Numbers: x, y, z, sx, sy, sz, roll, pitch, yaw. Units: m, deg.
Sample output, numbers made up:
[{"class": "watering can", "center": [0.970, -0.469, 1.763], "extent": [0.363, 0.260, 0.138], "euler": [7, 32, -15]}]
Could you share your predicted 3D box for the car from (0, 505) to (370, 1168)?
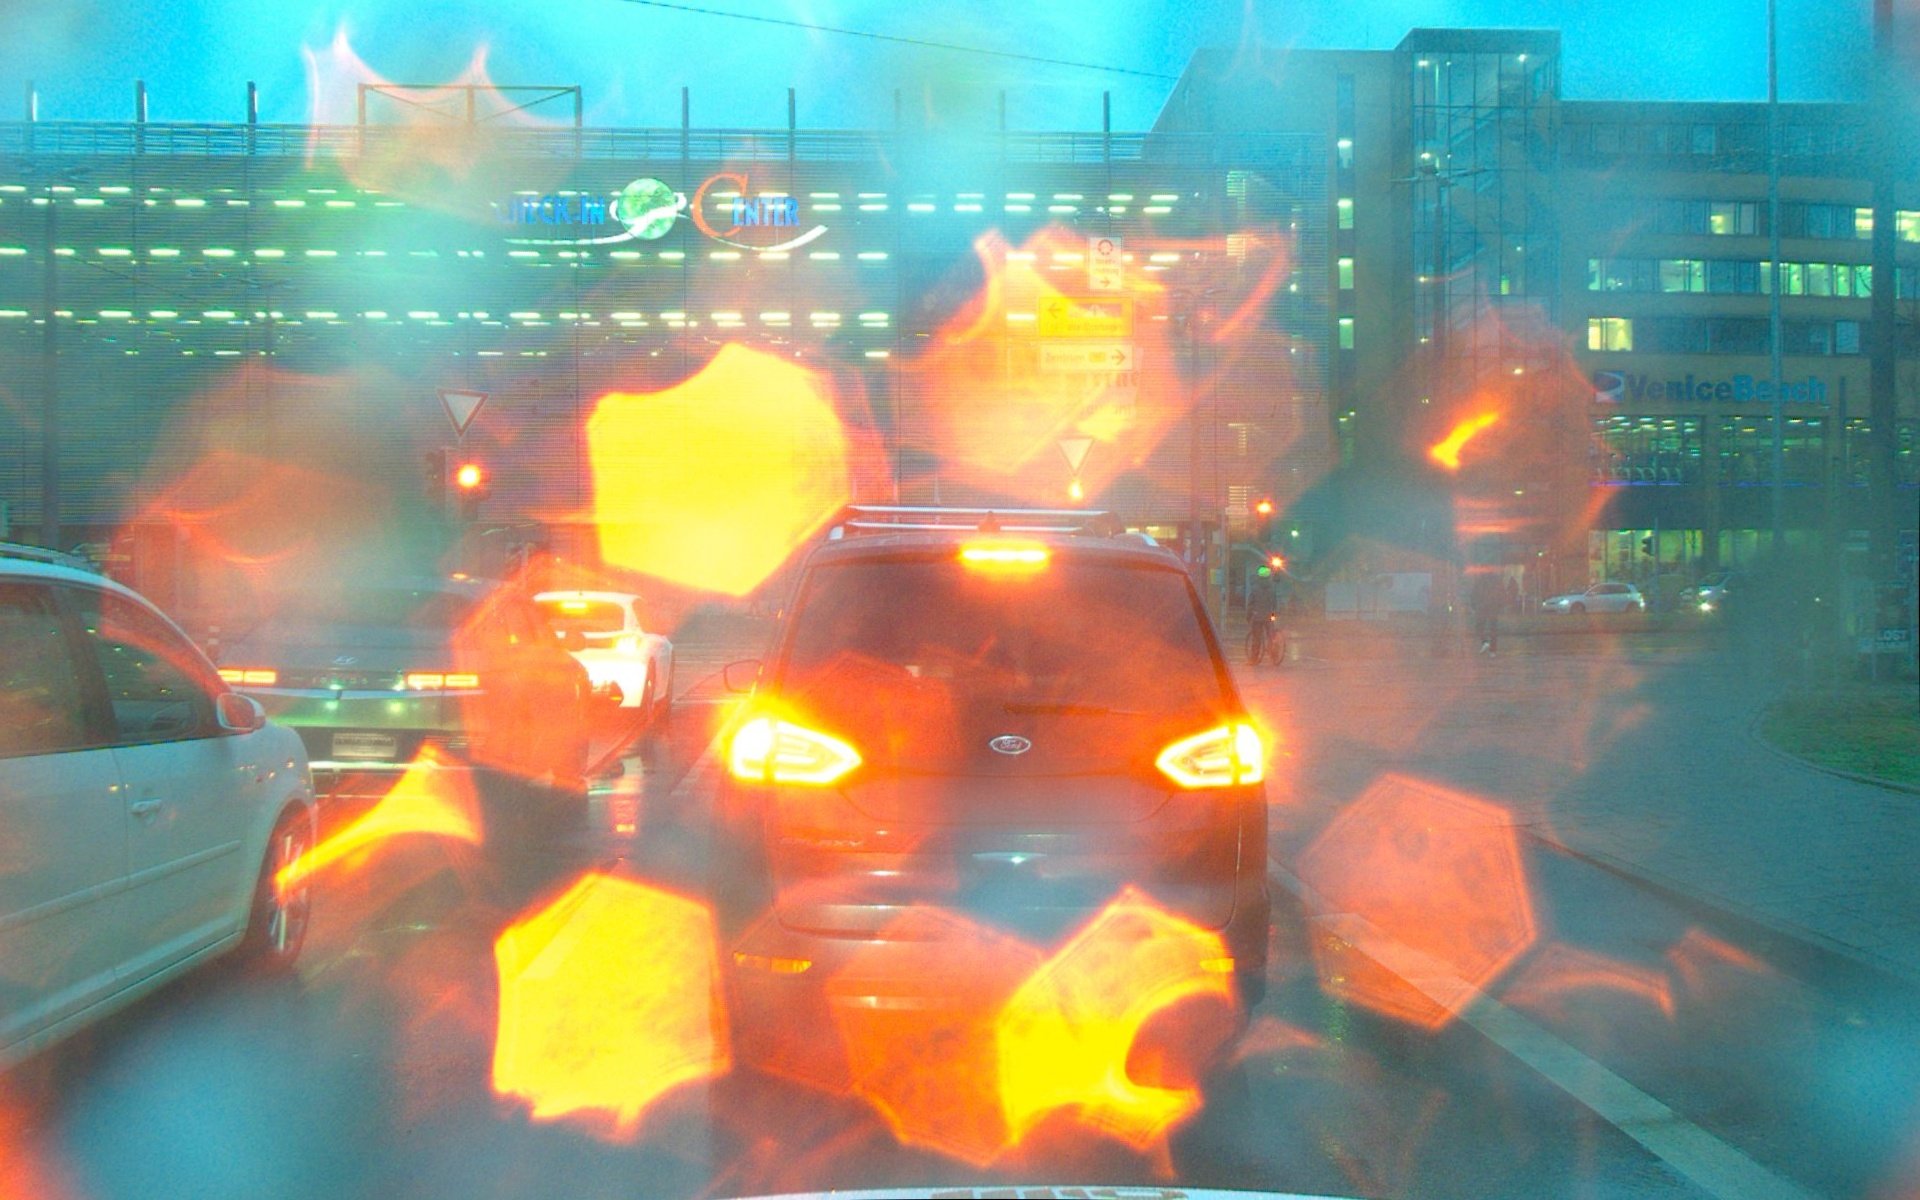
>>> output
[{"class": "car", "center": [-3.283, 0.564, 5.017], "extent": [1.637, 1.689, 4.146], "euler": [2, 1, -3]}]

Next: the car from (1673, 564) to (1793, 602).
[{"class": "car", "center": [32.704, -0.717, 70.012], "extent": [4.348, 1.561, 1.797], "euler": [-1, 0, -8]}]

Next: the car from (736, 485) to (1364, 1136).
[{"class": "car", "center": [0.152, 0.577, 6.723], "extent": [1.700, 1.768, 4.244], "euler": [2, 0, -3]}]

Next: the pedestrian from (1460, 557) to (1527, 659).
[{"class": "pedestrian", "center": [10.635, 0.148, 32.932], "extent": [1.146, 1.957, 0.898], "euler": [2, 0, 22]}]

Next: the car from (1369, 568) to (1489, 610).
[{"class": "car", "center": [19.033, -0.457, 67.168], "extent": [4.336, 1.623, 1.797], "euler": [-1, 0, -8]}]

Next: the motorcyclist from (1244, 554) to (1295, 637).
[{"class": "motorcyclist", "center": [5.929, -0.095, 31.747], "extent": [0.850, 1.561, 1.109], "euler": [0, 0, 5]}]

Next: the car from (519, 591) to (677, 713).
[{"class": "car", "center": [-4.153, 0.537, 19.437], "extent": [1.512, 1.273, 4.060], "euler": [0, 0, -8]}]

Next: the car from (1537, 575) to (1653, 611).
[{"class": "car", "center": [26.299, -0.290, 68.547], "extent": [4.136, 1.414, 1.797], "euler": [-1, 0, -8]}]

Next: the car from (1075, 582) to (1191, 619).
[{"class": "car", "center": [6.871, -0.007, 65.918], "extent": [4.336, 1.414, 1.797], "euler": [-1, 0, -8]}]

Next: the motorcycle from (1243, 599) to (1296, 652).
[{"class": "motorcycle", "center": [5.928, 0.476, 31.732], "extent": [0.835, 0.989, 1.582], "euler": [0, 0, 5]}]

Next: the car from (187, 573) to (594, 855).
[{"class": "car", "center": [-3.704, 0.640, 11.489], "extent": [1.718, 1.601, 3.996], "euler": [0, 0, -5]}]

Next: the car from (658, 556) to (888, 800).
[{"class": "car", "center": [-1.488, 0.559, 13.626], "extent": [1.604, 1.726, 3.667], "euler": [1, 0, -5]}]
